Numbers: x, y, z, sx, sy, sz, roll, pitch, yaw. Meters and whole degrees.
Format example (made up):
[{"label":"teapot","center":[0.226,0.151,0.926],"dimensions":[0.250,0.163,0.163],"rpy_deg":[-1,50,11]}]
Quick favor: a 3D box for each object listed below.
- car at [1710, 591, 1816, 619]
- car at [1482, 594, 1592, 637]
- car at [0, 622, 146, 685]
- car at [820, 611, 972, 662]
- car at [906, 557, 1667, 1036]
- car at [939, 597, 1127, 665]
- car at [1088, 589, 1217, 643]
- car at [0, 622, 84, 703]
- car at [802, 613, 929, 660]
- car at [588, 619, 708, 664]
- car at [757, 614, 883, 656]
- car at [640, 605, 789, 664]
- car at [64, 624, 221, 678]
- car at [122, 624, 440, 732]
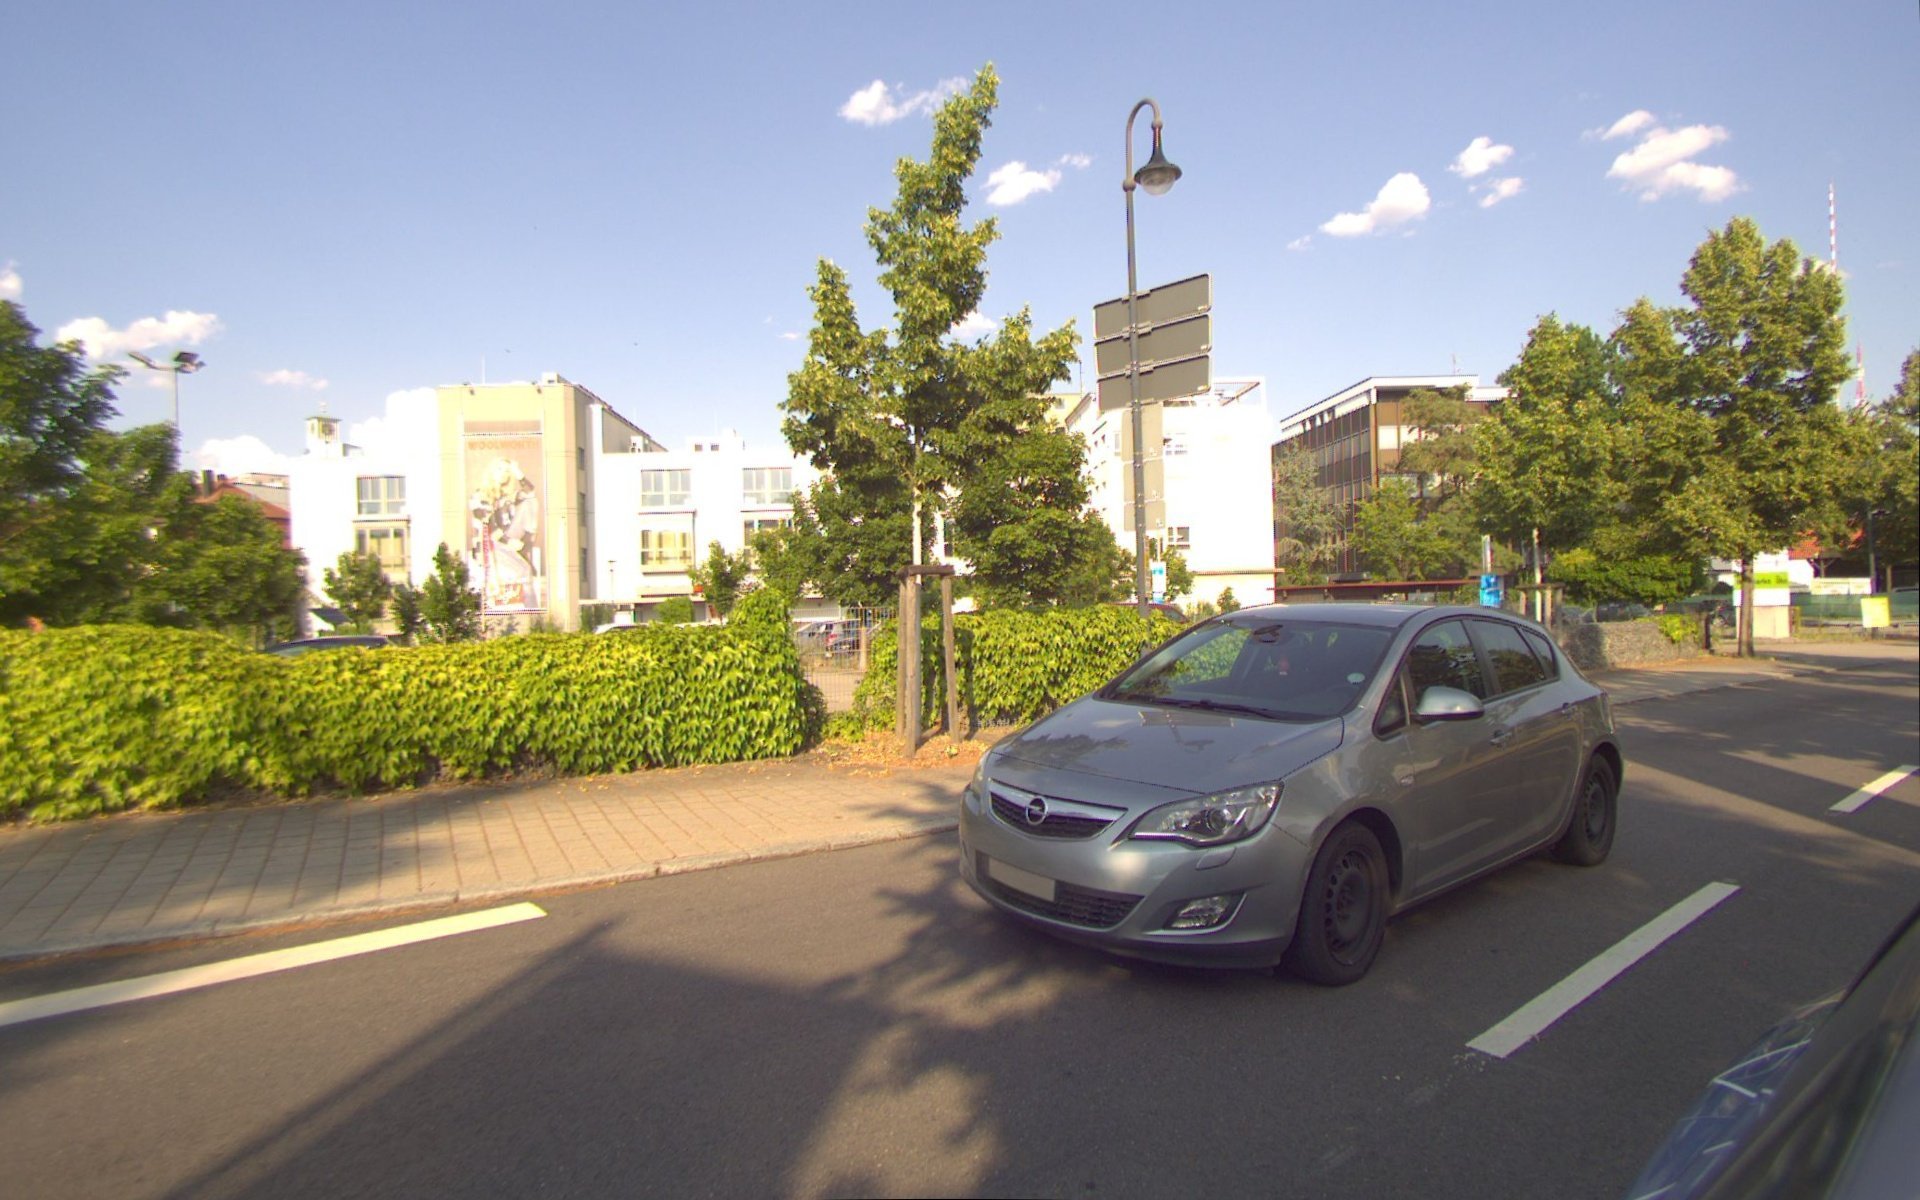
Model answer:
[{"label":"car","center":[42.937,0.277,54.215],"dimensions":[1.899,1.438,4.005],"rpy_deg":[-1,0,-27]},{"label":"car","center":[21.182,0.540,37.146],"dimensions":[3.787,1.481,1.660],"rpy_deg":[-1,-1,-27]},{"label":"car","center":[-25.144,1.452,27.928],"dimensions":[3.920,1.571,2.002],"rpy_deg":[-1,0,-30]},{"label":"car","center":[-2.010,1.114,32.423],"dimensions":[4.460,1.462,2.000],"rpy_deg":[-1,-1,-34]},{"label":"car","center":[1.933,0.620,5.212],"dimensions":[4.229,1.509,1.725],"rpy_deg":[0,0,-39]},{"label":"car","center":[1.889,0.780,25.841],"dimensions":[4.460,1.551,2.000],"rpy_deg":[-1,-2,-34]},{"label":"car","center":[7.122,0.552,37.311],"dimensions":[4.557,1.878,2.001],"rpy_deg":[-1,-1,-33]},{"label":"car","center":[-21.391,1.339,21.471],"dimensions":[3.920,1.649,2.002],"rpy_deg":[-1,0,-30]},{"label":"car","center":[-3.229,1.219,34.843],"dimensions":[3.876,1.462,2.000],"rpy_deg":[-1,-1,-34]},{"label":"car","center":[-12.643,1.641,40.961],"dimensions":[4.453,1.669,2.003],"rpy_deg":[-1,-1,-23]},{"label":"car","center":[-5.383,1.303,39.079],"dimensions":[4.460,1.462,1.879],"rpy_deg":[-1,-1,-34]},{"label":"car","center":[-7.732,1.085,31.950],"dimensions":[4.228,1.746,1.896],"rpy_deg":[0,-3,-28]},{"label":"car","center":[-27.993,1.711,34.815],"dimensions":[3.920,1.649,2.002],"rpy_deg":[-1,0,-30]},{"label":"car","center":[-11.837,1.275,17.957],"dimensions":[4.460,1.559,2.000],"rpy_deg":[-1,-1,-34]}]
